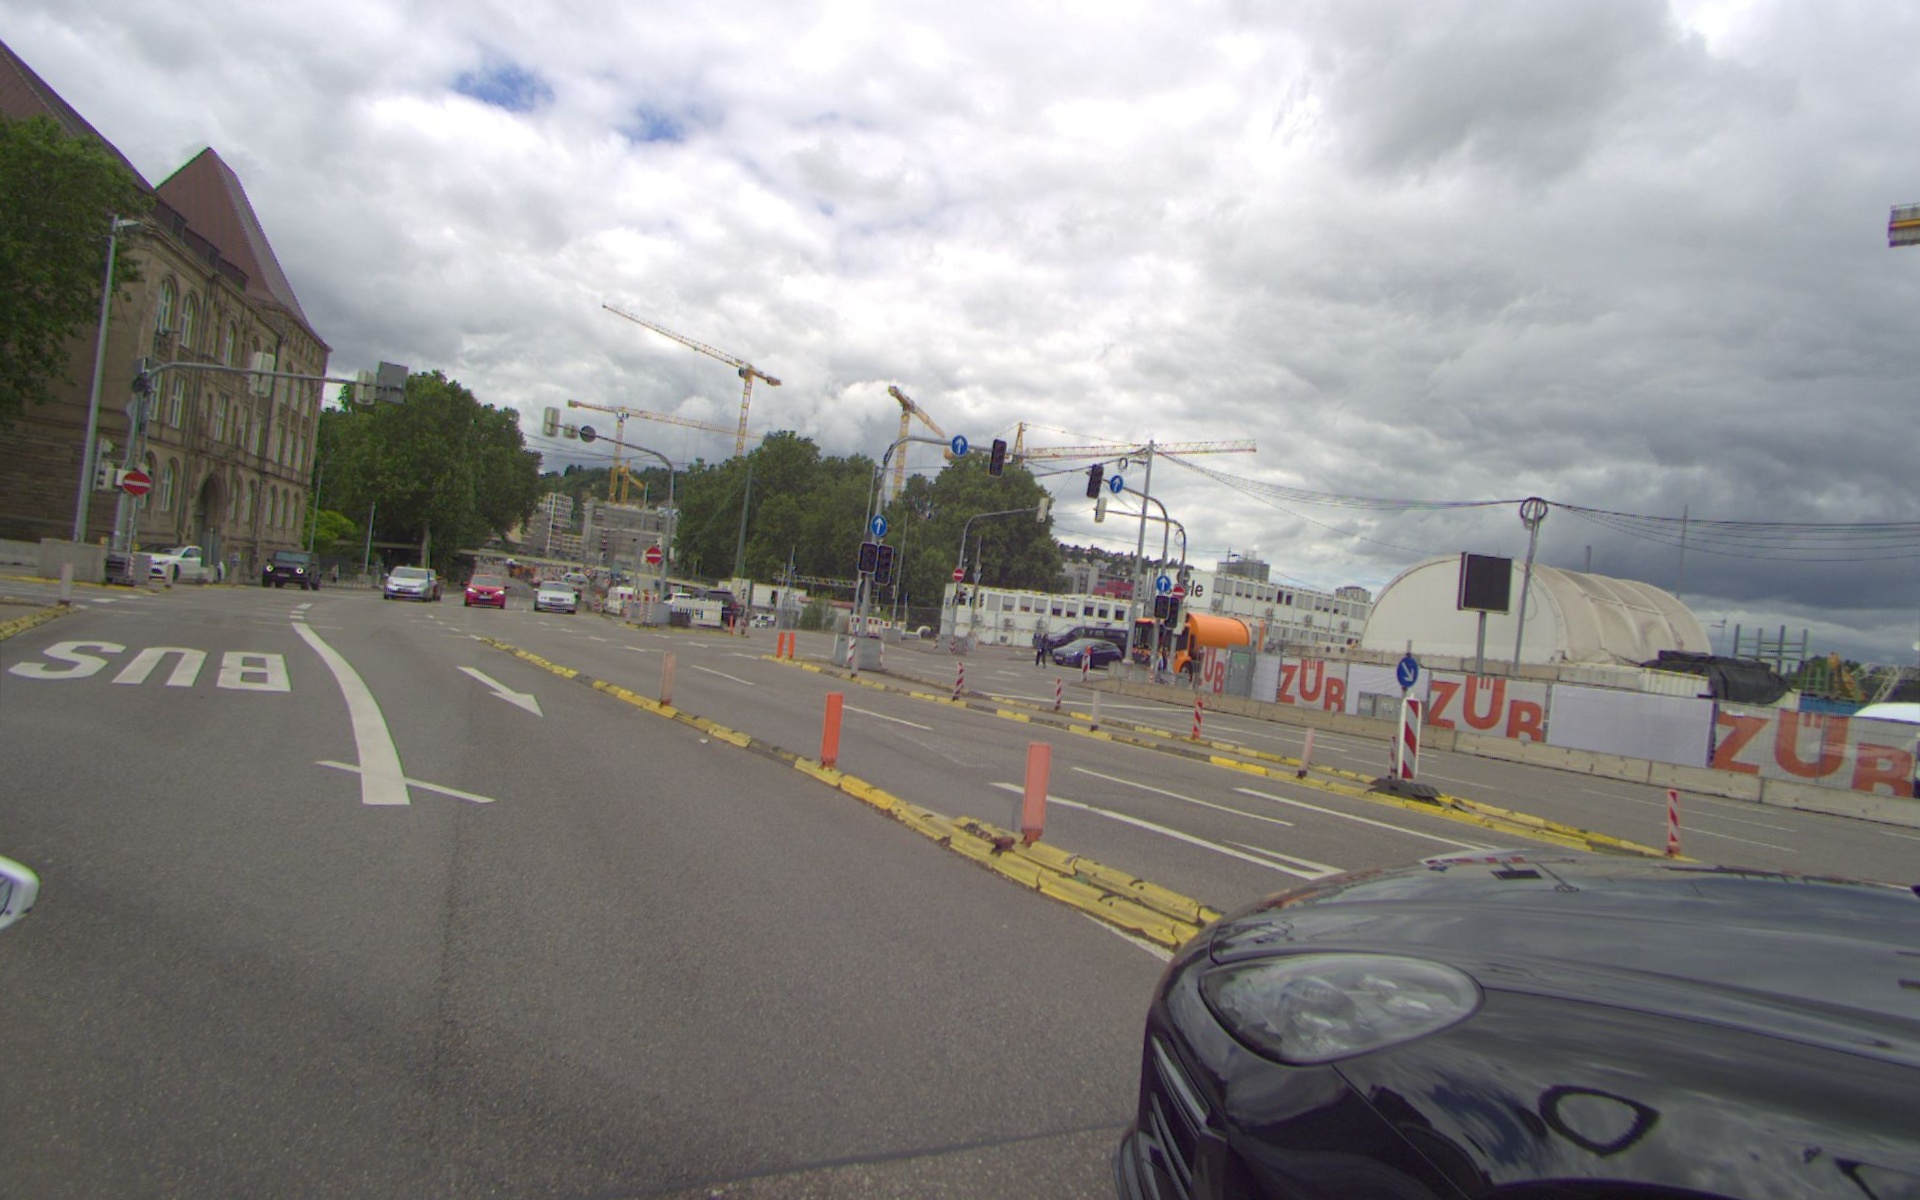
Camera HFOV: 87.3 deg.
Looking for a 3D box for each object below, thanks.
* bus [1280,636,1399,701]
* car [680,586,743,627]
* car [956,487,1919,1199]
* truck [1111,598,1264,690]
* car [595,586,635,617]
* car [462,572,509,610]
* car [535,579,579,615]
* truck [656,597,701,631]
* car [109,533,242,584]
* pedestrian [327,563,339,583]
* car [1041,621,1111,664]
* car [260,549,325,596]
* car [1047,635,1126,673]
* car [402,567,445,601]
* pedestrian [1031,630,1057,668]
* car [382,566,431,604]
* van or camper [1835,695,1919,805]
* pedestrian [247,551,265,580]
[{"bbox_3d":[25.470,4.652,67.210,9.332,3.206,2.784,10,-1,-38],"label":"bus"},{"bbox_3d":[-12.343,0.322,49.865,1.925,1.686,3.614,8,-2,-31],"label":"car"},{"bbox_3d":[2.423,0.956,1.095,4.533,1.667,1.953,7,-1,33],"label":"car"},{"bbox_3d":[11.781,2.344,51.334,8.974,3.719,2.874,8,-1,-44],"label":"truck"},{"bbox_3d":[-22.480,0.073,65.540,1.744,1.707,3.618,8,-2,-28],"label":"car"},{"bbox_3d":[-21.072,-0.398,44.785,1.669,1.453,3.428,6,-1,-24],"label":"car"},{"bbox_3d":[-18.529,-0.139,46.178,1.672,1.453,3.429,6,-1,-24],"label":"car"},{"bbox_3d":[-18.436,0.904,65.690,1.919,1.701,3.986,9,-1,-27],"label":"truck"},{"bbox_3d":[-29.498,-1.513,38.017,1.710,1.452,4.379,8,-2,-6],"label":"car"},{"bbox_3d":[-57.234,-2.467,91.841,0.654,1.654,0.845,7,-1,-28],"label":"pedestrian"},{"bbox_3d":[7.072,2.576,61.066,1.974,2.037,3.980,8,-1,44],"label":"car"},{"bbox_3d":[-33.832,-1.364,51.101,1.912,1.959,3.660,5,-4,-22],"label":"car"},{"bbox_3d":[6.485,2.762,51.292,4.044,1.452,1.765,9,-1,-44],"label":"car"},{"bbox_3d":[-27.167,-0.829,51.020,1.646,1.451,3.426,9,-2,-26],"label":"car"},{"bbox_3d":[3.902,2.279,46.828,0.840,1.611,0.619,6,-1,44],"label":"pedestrian"},{"bbox_3d":[-24.451,-0.627,44.527,1.644,1.452,3.427,6,-2,-26],"label":"car"},{"bbox_3d":[22.917,3.575,23.091,3.929,2.254,1.998,6,0,-7],"label":"van or camper"},{"bbox_3d":[-42.990,-2.093,61.454,0.654,1.654,0.845,7,-1,-28],"label":"pedestrian"}]
